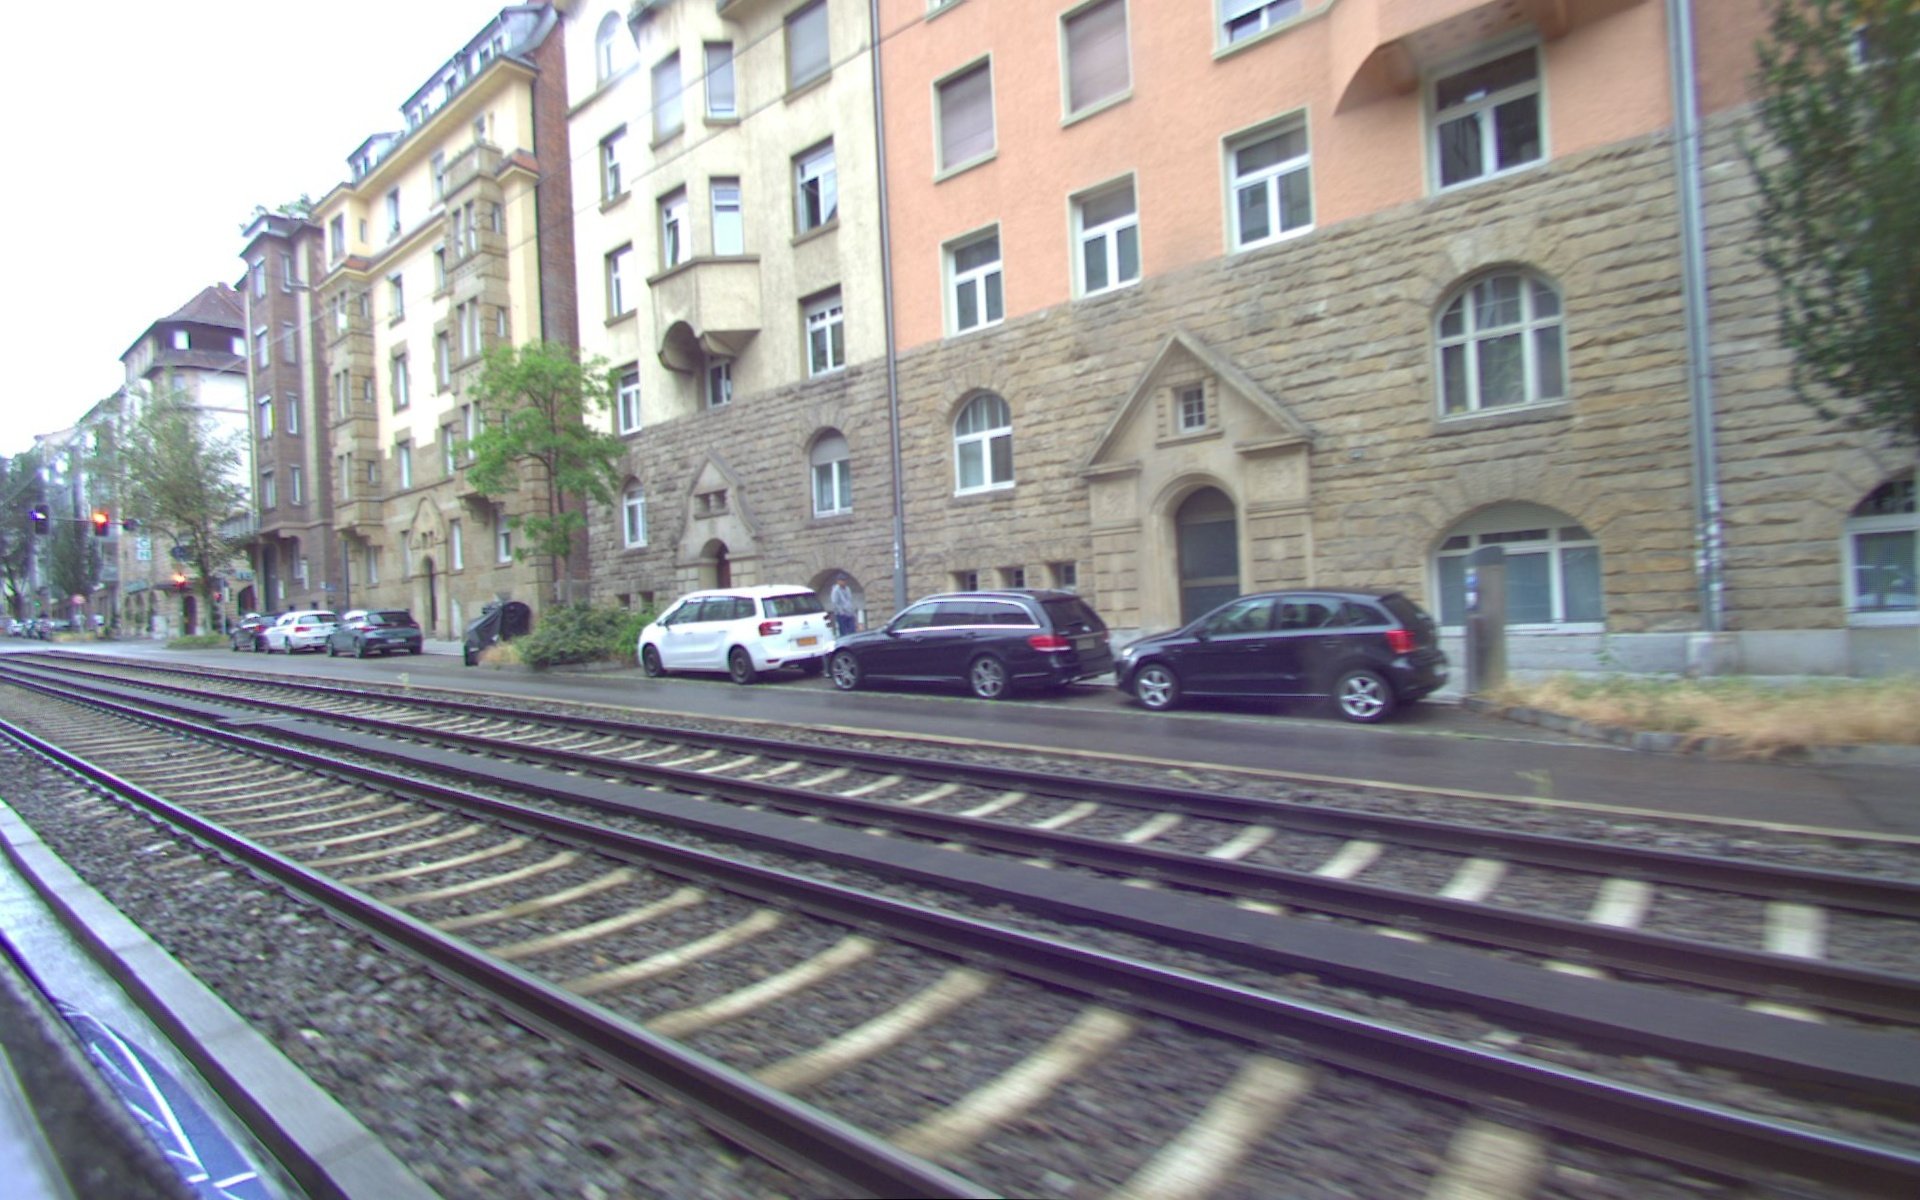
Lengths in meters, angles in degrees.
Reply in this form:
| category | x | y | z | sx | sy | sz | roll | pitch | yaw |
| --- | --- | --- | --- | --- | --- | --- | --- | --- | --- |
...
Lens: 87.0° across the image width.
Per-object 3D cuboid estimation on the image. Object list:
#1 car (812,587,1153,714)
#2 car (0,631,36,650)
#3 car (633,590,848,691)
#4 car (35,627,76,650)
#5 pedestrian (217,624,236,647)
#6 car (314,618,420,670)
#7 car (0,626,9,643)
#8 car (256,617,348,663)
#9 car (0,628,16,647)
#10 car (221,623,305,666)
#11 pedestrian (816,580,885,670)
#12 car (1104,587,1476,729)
| category | x | y | z | sx | sy | sz | roll | pitch | yaw |
| --- | --- | --- | --- | --- | --- | --- | --- | --- | --- |
| car | 0.185 | 0.687 | 15.131 | 4.973 | 1.520 | 1.973 | -2 | 1 | 42 |
| car | -75.398 | 3.207 | 80.967 | 4.128 | 1.345 | 1.685 | -1 | 2 | 41 |
| car | -4.137 | 0.710 | 18.627 | 4.353 | 1.601 | 1.764 | -2 | 0 | 45 |
| car | -64.507 | 2.726 | 72.170 | 3.525 | 1.509 | 1.788 | -2 | 0 | 42 |
| pedestrian | -45.665 | 2.212 | 62.985 | 0.721 | 1.426 | 0.808 | -2 | 0 | 45 |
| car | -18.399 | 1.324 | 31.327 | 4.144 | 1.448 | 1.545 | -1 | 1 | 41 |
| car | -89.324 | 3.197 | 93.321 | 4.466 | 1.451 | 1.887 | -1 | 0 | 40 |
| car | -22.939 | 1.358 | 35.219 | 4.262 | 1.436 | 1.649 | -1 | 0 | 43 |
| car | -83.948 | 3.234 | 88.346 | 4.156 | 1.581 | 1.758 | -1 | 0 | 40 |
| car | -26.727 | 1.650 | 38.778 | 3.999 | 1.497 | 1.746 | -1 | 0 | 42 |
| pedestrian | -2.240 | 0.495 | 20.719 | 0.924 | 1.767 | 0.997 | -2 | 0 | 40 |
| car | 3.825 | 0.627 | 12.059 | 3.879 | 1.408 | 1.626 | -2 | 0 | 38 |
